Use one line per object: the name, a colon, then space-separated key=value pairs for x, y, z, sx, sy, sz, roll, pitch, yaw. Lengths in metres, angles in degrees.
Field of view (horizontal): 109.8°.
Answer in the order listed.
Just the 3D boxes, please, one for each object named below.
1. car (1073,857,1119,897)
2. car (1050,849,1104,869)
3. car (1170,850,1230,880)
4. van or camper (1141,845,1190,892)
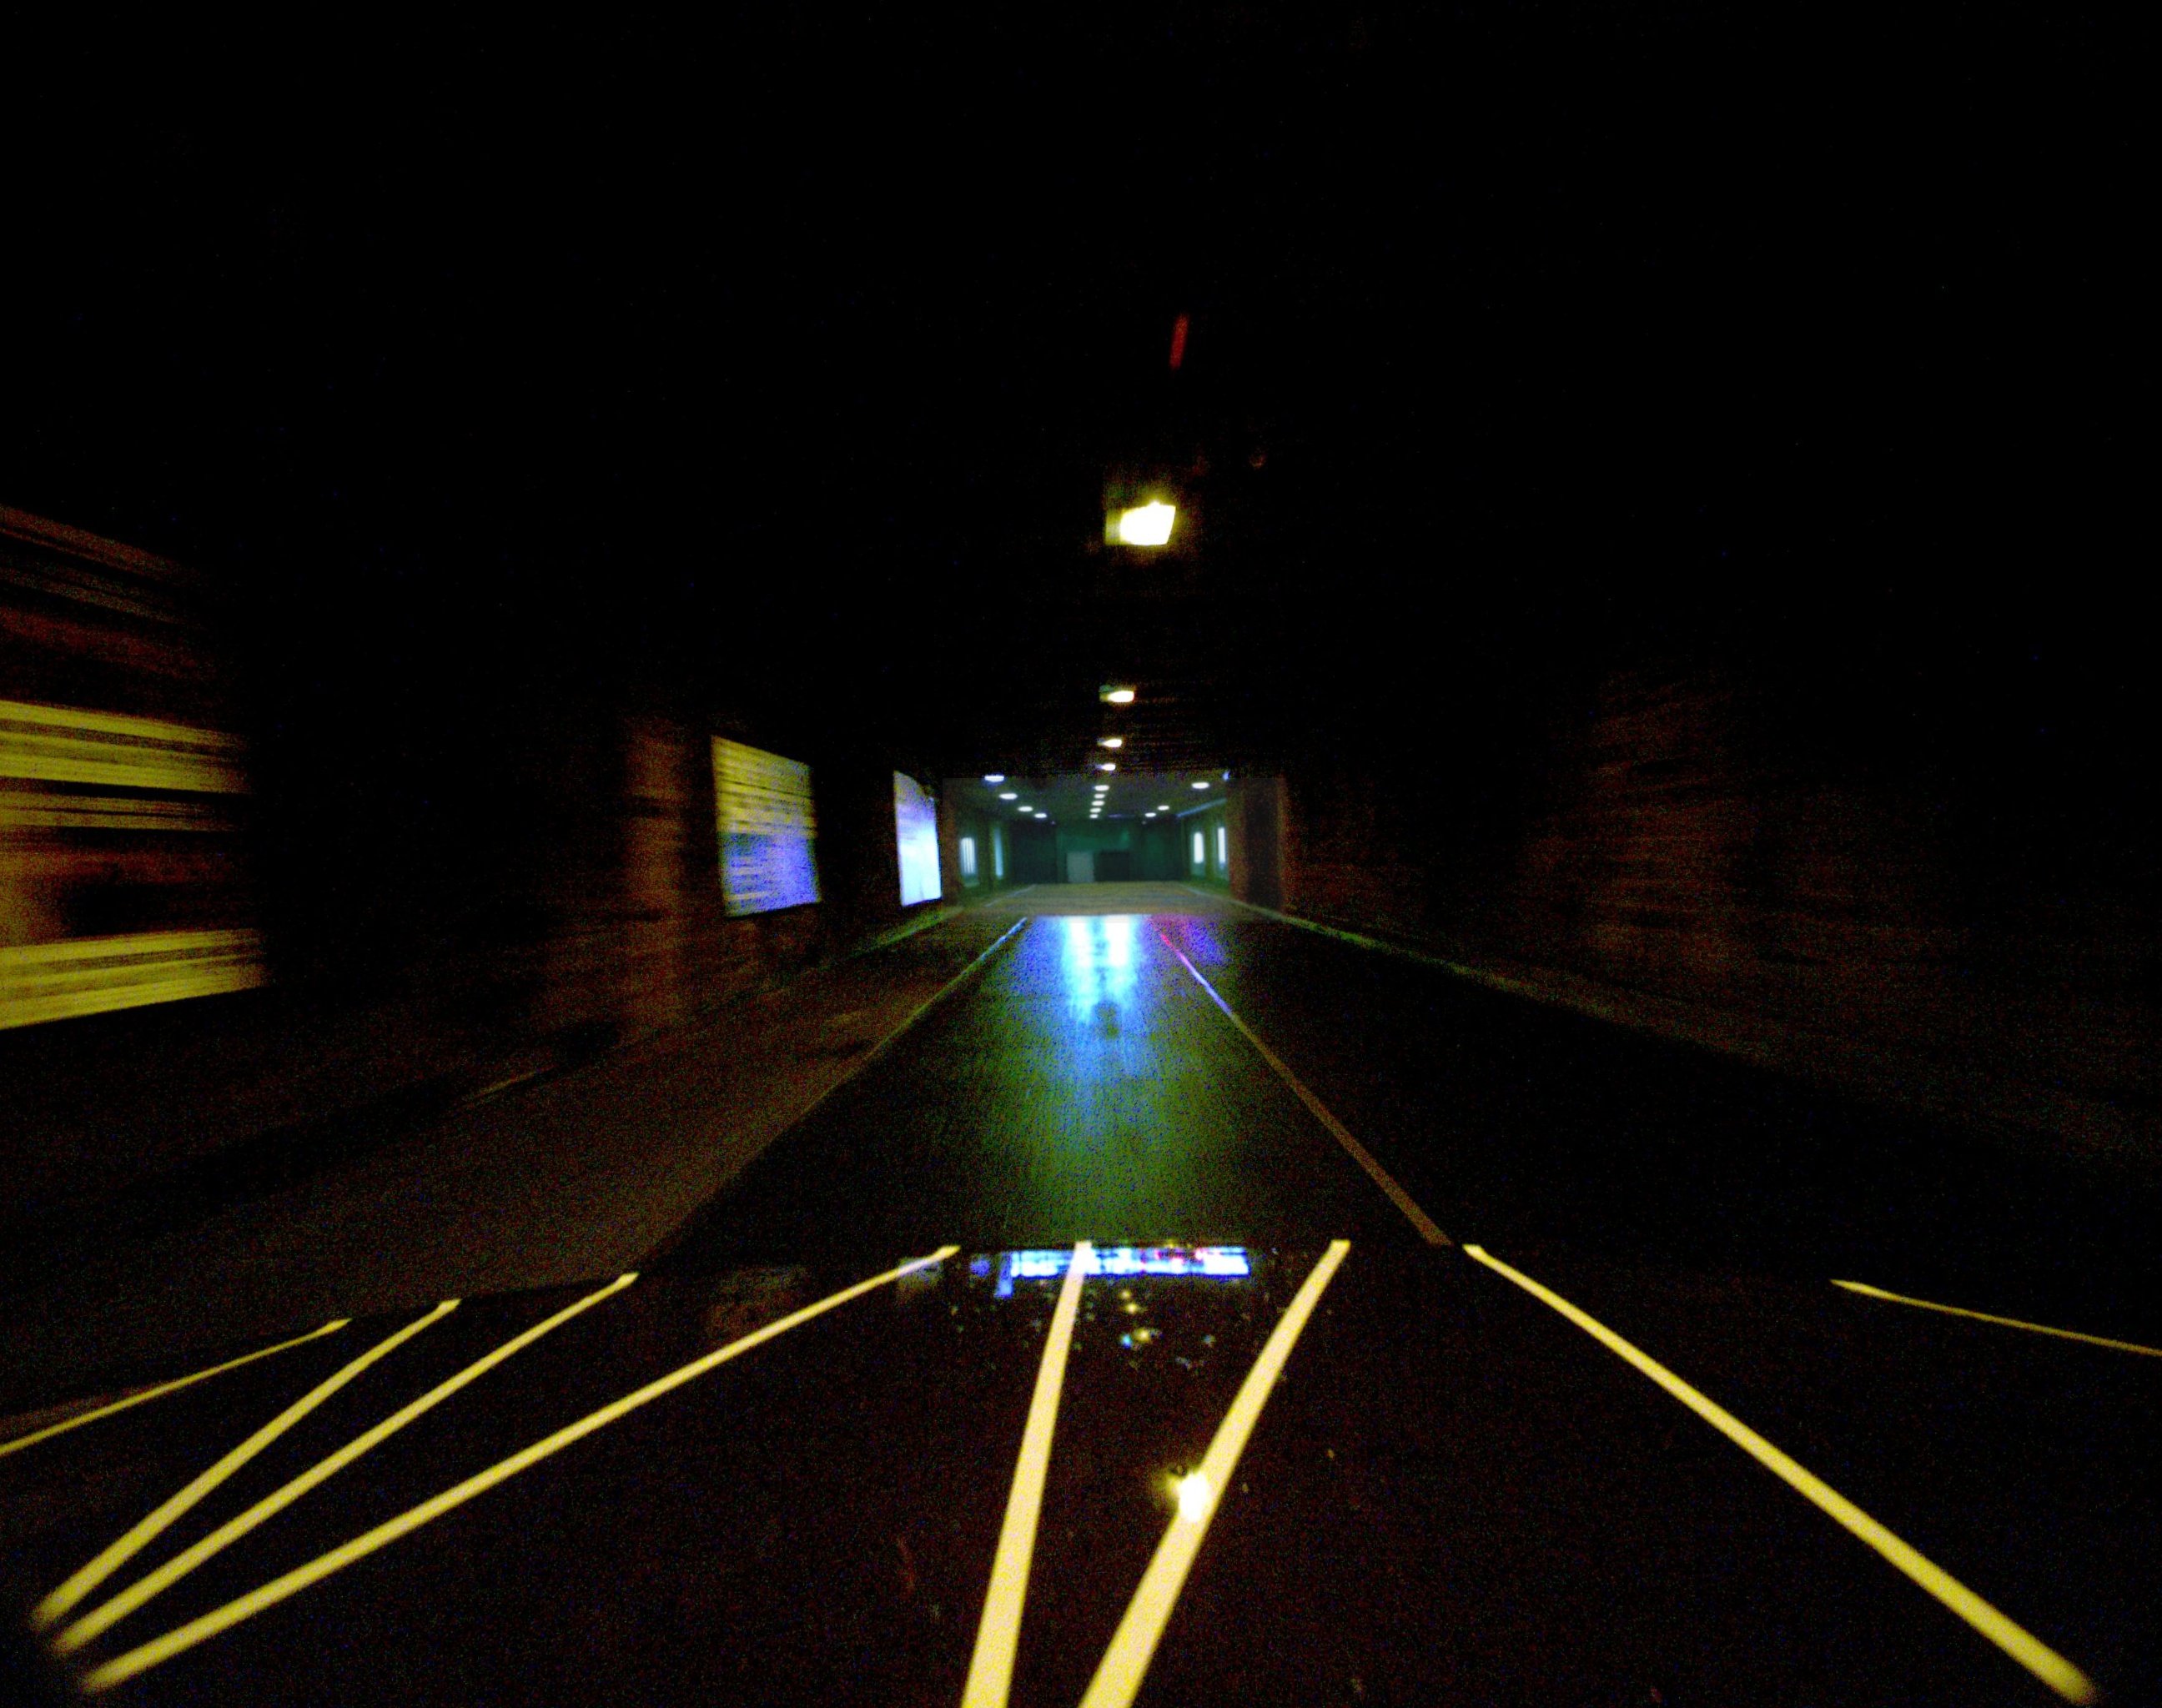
car: x=0.693 y=0.938 z=31.464 sx=1.707 sy=1.548 sz=4.002 roll=0 pitch=-1 yaw=4
car: x=-0.320 y=0.435 z=65.225 sx=4.224 sy=1.571 sz=1.772 roll=0 pitch=3 yaw=23
car: x=7.408 y=0.649 z=46.940 sx=1.996 sy=1.520 sz=4.508 roll=-7 pitch=-2 yaw=30
van or camper: x=3.761 y=0.585 z=33.833 sx=1.997 sy=1.857 sz=5.140 roll=-1 pitch=1 yaw=6
